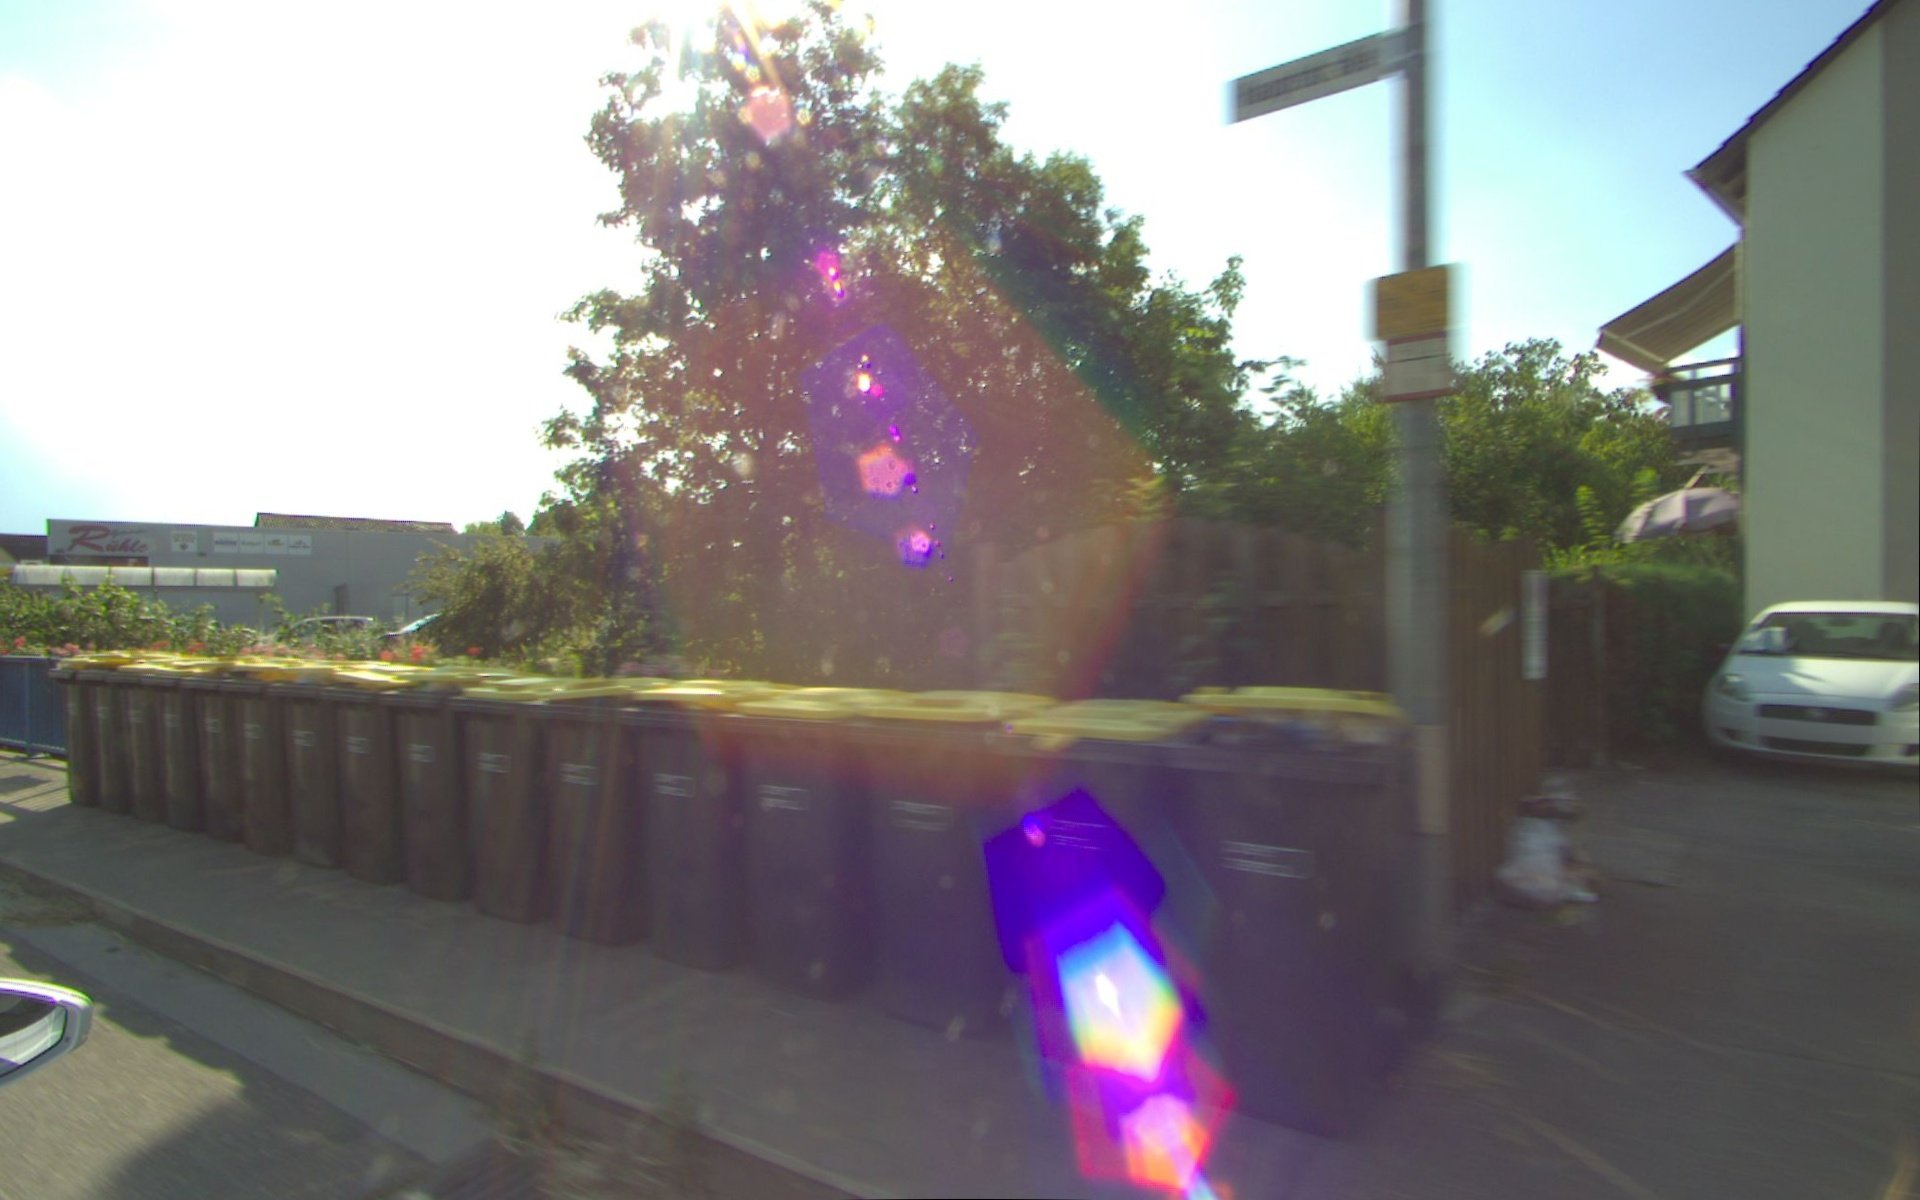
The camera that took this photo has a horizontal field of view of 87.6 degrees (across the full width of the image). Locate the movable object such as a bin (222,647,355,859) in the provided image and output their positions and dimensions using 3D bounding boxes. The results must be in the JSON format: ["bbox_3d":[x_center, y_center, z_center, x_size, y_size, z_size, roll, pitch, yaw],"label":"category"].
[{"bbox_3d":[-3.991,0.874,5.960,0.531,1.158,0.478,0,1,32],"label":"movable object such as a bin"}]

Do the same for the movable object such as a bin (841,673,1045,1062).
[{"bbox_3d":[-0.053,0.857,3.453,0.535,1.158,0.478,0,1,32],"label":"movable object such as a bin"}]

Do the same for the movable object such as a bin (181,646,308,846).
[{"bbox_3d":[-4.483,0.884,6.279,0.531,1.158,0.478,0,1,32],"label":"movable object such as a bin"}]

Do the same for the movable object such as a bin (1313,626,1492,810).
[{"bbox_3d":[3.682,0.914,8.325,1.034,1.355,1.145,1,1,44],"label":"movable object such as a bin"}]

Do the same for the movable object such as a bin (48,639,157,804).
[{"bbox_3d":[-6.445,0.887,7.530,0.531,1.158,0.478,0,1,32],"label":"movable object such as a bin"}]

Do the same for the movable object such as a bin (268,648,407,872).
[{"bbox_3d":[-3.518,0.868,5.663,0.531,1.158,0.478,0,1,32],"label":"movable object such as a bin"}]

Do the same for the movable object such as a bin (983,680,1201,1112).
[{"bbox_3d":[0.419,0.856,3.144,0.531,1.158,0.478,0,1,32],"label":"movable object such as a bin"}]

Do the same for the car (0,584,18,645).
[{"bbox_3d":[-40.261,0.579,41.253,5.123,2.406,1.826,0,1,44],"label":"car"}]

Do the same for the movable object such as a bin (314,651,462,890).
[{"bbox_3d":[-3.045,0.867,5.339,0.556,1.158,0.478,0,1,32],"label":"movable object such as a bin"}]

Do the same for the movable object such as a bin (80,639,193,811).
[{"bbox_3d":[-5.945,0.876,7.231,0.531,1.158,0.478,0,1,32],"label":"movable object such as a bin"}]

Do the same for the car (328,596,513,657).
[{"bbox_3d":[-13.830,0.641,25.812,3.911,1.467,1.667,0,-1,-43],"label":"car"}]

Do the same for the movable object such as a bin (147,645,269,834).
[{"bbox_3d":[-4.964,0.888,6.614,0.531,1.158,0.478,0,1,32],"label":"movable object such as a bin"}]

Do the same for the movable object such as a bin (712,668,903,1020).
[{"bbox_3d":[-0.567,0.859,3.763,0.531,1.158,0.478,0,1,32],"label":"movable object such as a bin"}]

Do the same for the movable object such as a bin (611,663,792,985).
[{"bbox_3d":[-1.041,0.854,4.063,0.531,1.158,0.478,0,1,32],"label":"movable object such as a bin"}]

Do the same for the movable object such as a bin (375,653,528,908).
[{"bbox_3d":[-2.551,0.865,5.032,0.531,1.158,0.478,0,1,32],"label":"movable object such as a bin"}]

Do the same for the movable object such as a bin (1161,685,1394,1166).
[{"bbox_3d":[0.913,0.849,2.861,0.531,1.158,0.478,0,1,32],"label":"movable object such as a bin"}]

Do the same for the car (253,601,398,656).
[{"bbox_3d":[-18.404,0.784,29.095,3.407,1.435,1.486,-2,1,-39],"label":"car"}]

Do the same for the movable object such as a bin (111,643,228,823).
[{"bbox_3d":[-5.454,0.887,6.912,0.531,1.158,0.478,0,1,32],"label":"movable object such as a bin"}]

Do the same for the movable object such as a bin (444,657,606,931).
[{"bbox_3d":[-2.038,0.864,4.703,0.531,1.158,0.478,0,1,32],"label":"movable object such as a bin"}]

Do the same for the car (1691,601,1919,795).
[{"bbox_3d":[8.215,0.760,9.295,3.717,1.469,1.621,1,0,-43],"label":"car"}]

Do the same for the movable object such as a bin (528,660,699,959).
[{"bbox_3d":[-1.502,0.862,4.358,0.531,1.158,0.478,0,1,32],"label":"movable object such as a bin"}]
